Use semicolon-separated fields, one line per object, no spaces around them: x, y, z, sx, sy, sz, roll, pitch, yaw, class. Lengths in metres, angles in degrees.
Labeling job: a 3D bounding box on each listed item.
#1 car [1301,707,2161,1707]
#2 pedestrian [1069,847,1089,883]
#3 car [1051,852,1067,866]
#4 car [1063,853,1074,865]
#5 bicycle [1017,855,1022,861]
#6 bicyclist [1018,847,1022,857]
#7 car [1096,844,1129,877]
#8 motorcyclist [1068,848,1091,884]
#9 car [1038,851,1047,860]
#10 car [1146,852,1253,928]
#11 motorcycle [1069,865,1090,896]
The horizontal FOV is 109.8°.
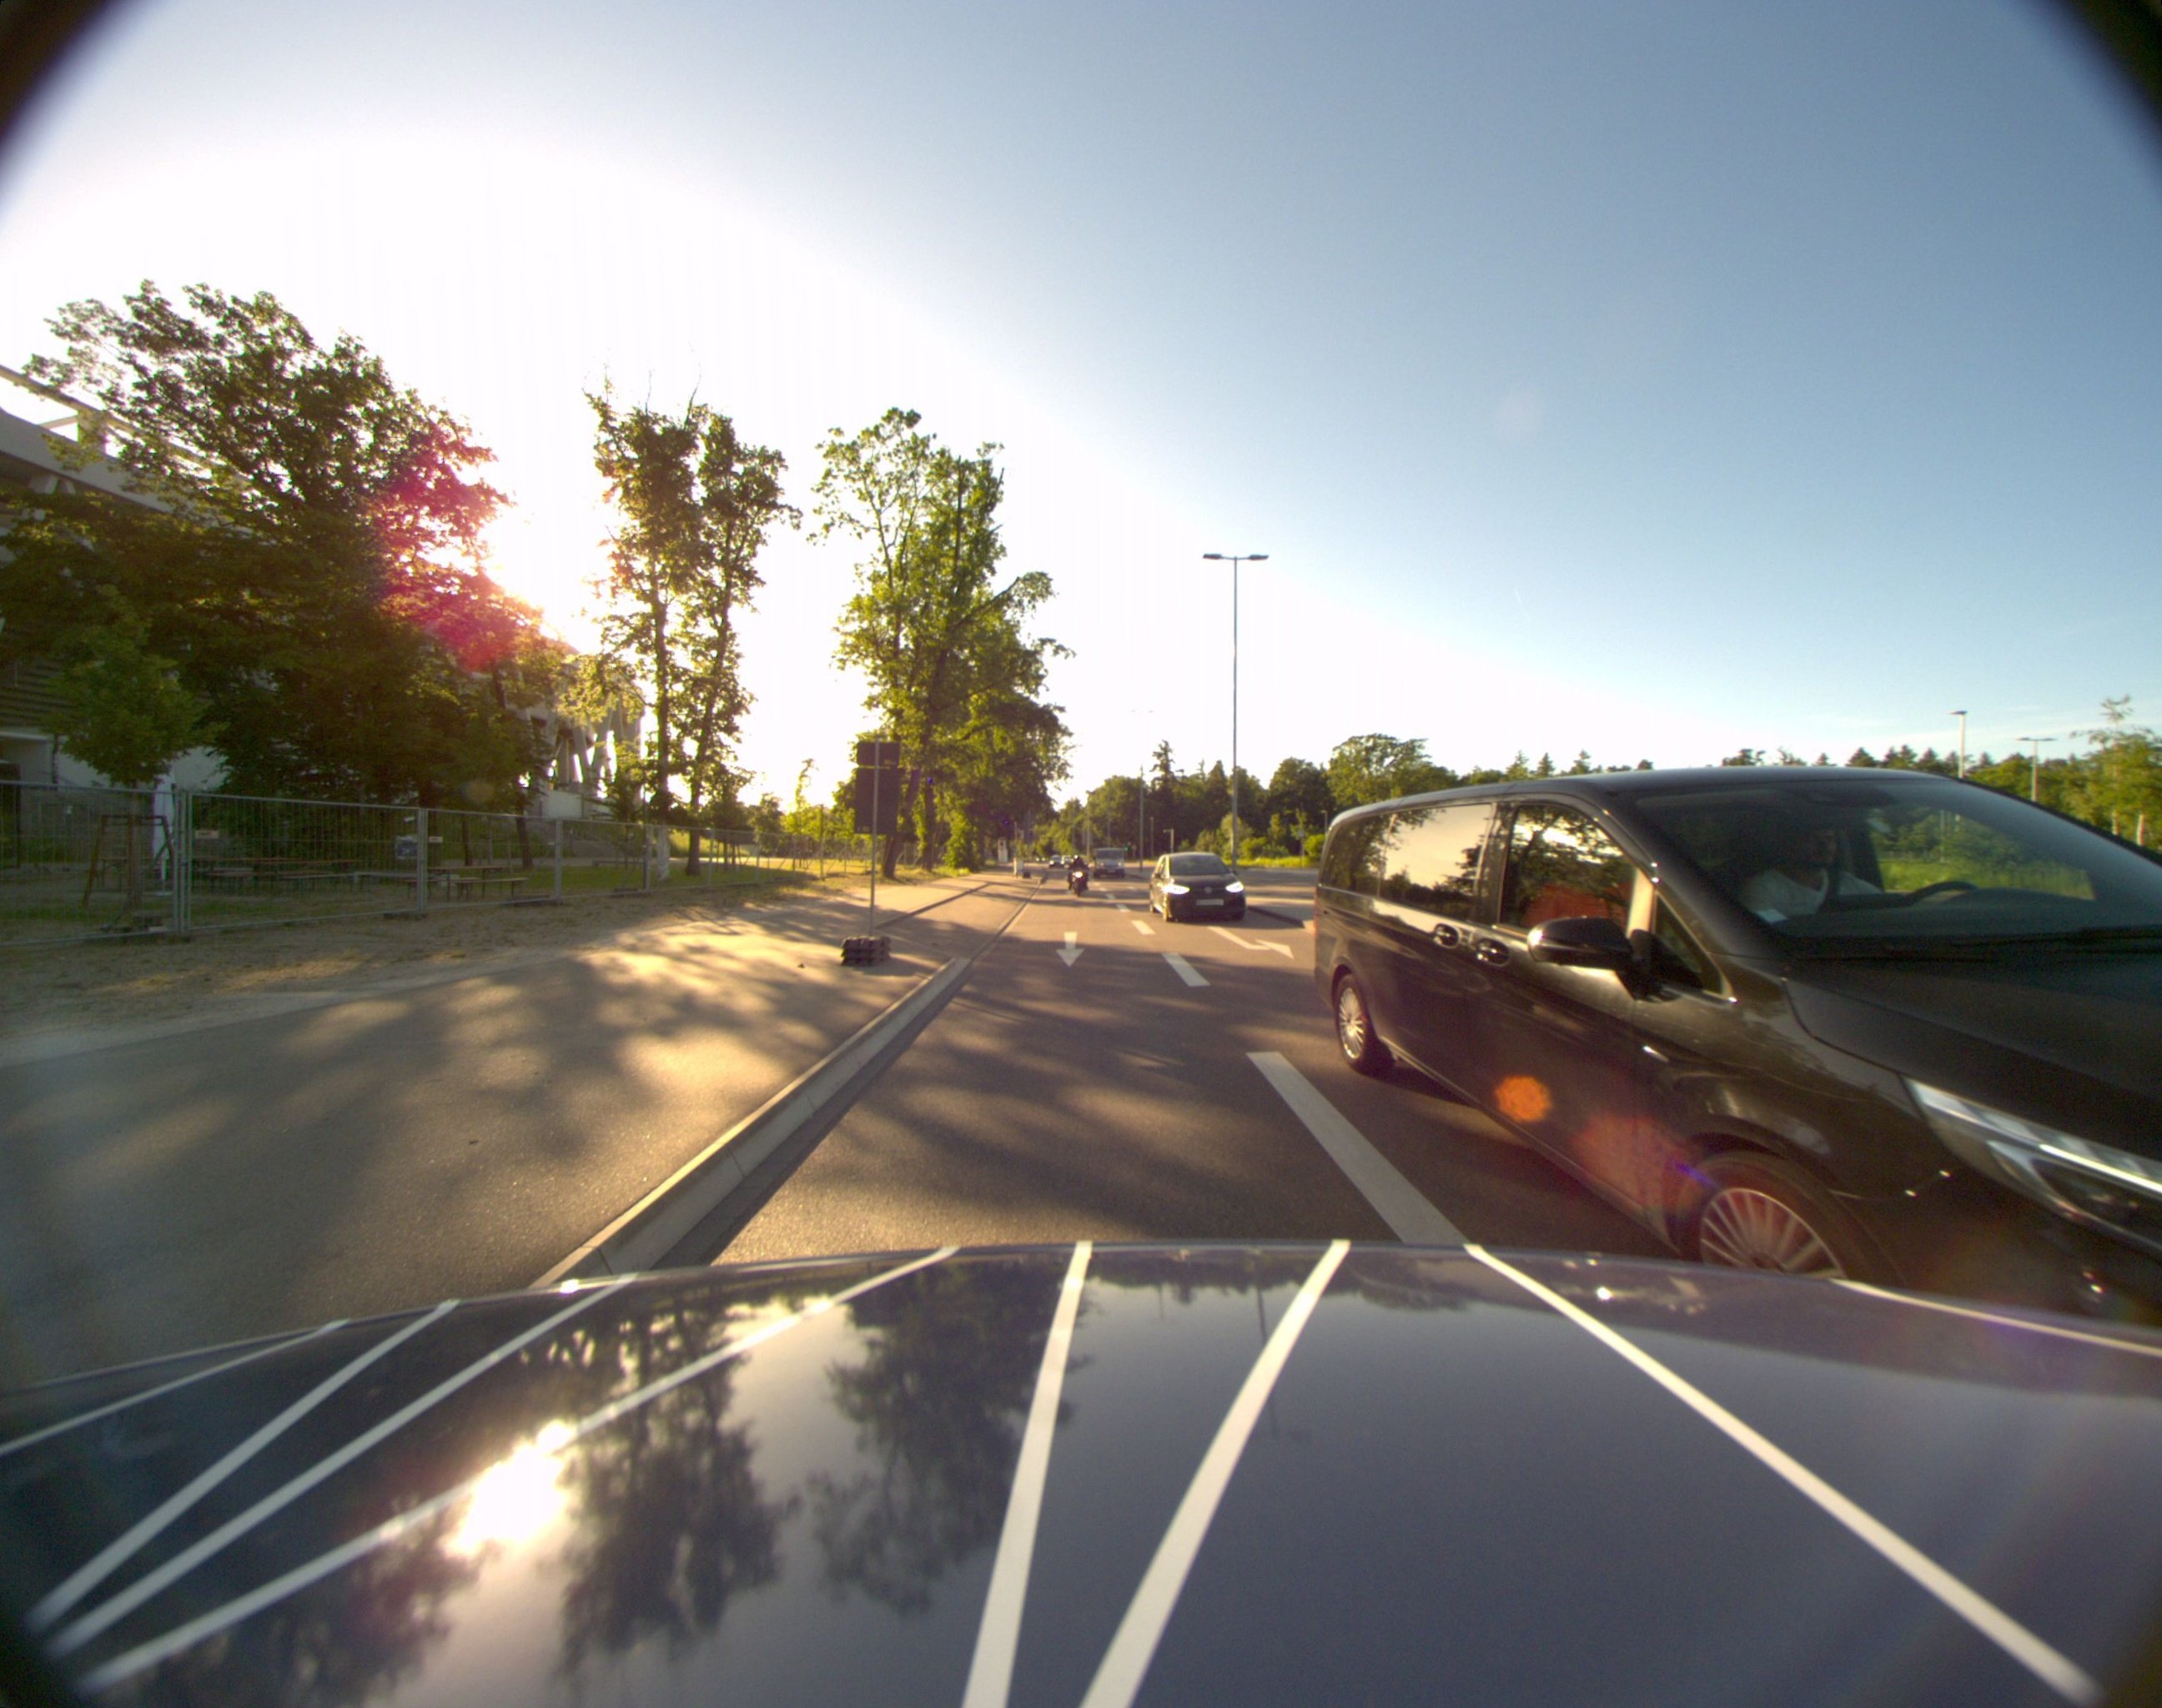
2.679;0.622;3.458;1.912;1.845;4.872;-2;1;0;car
-0.077;0.438;30.175;0.739;1.387;0.500;-2;1;1;pedestrian
-2.752;0.603;95.642;1.883;1.629;5.048;-2;0;0;car
-1.976;0.763;122.491;1.675;1.827;3.982;-2;1;1;car
-8.620;0.536;107.048;0.481;0.854;1.910;0;0;1;bicycle
-8.605;-0.343;107.156;0.451;1.412;0.575;0;1;0;bicyclist
2.015;0.423;50.160;1.883;1.951;5.048;-2;0;0;car
-0.047;0.455;29.602;0.822;1.367;0.476;-2;1;1;motorcyclist
-8.788;0.373;174.539;1.774;1.849;3.999;-2;1;1;car
2.725;0.770;18.351;1.883;1.528;3.999;-2;1;0;car
-0.032;1.009;29.460;0.717;1.058;2.721;-2;0;1;motorcycle
